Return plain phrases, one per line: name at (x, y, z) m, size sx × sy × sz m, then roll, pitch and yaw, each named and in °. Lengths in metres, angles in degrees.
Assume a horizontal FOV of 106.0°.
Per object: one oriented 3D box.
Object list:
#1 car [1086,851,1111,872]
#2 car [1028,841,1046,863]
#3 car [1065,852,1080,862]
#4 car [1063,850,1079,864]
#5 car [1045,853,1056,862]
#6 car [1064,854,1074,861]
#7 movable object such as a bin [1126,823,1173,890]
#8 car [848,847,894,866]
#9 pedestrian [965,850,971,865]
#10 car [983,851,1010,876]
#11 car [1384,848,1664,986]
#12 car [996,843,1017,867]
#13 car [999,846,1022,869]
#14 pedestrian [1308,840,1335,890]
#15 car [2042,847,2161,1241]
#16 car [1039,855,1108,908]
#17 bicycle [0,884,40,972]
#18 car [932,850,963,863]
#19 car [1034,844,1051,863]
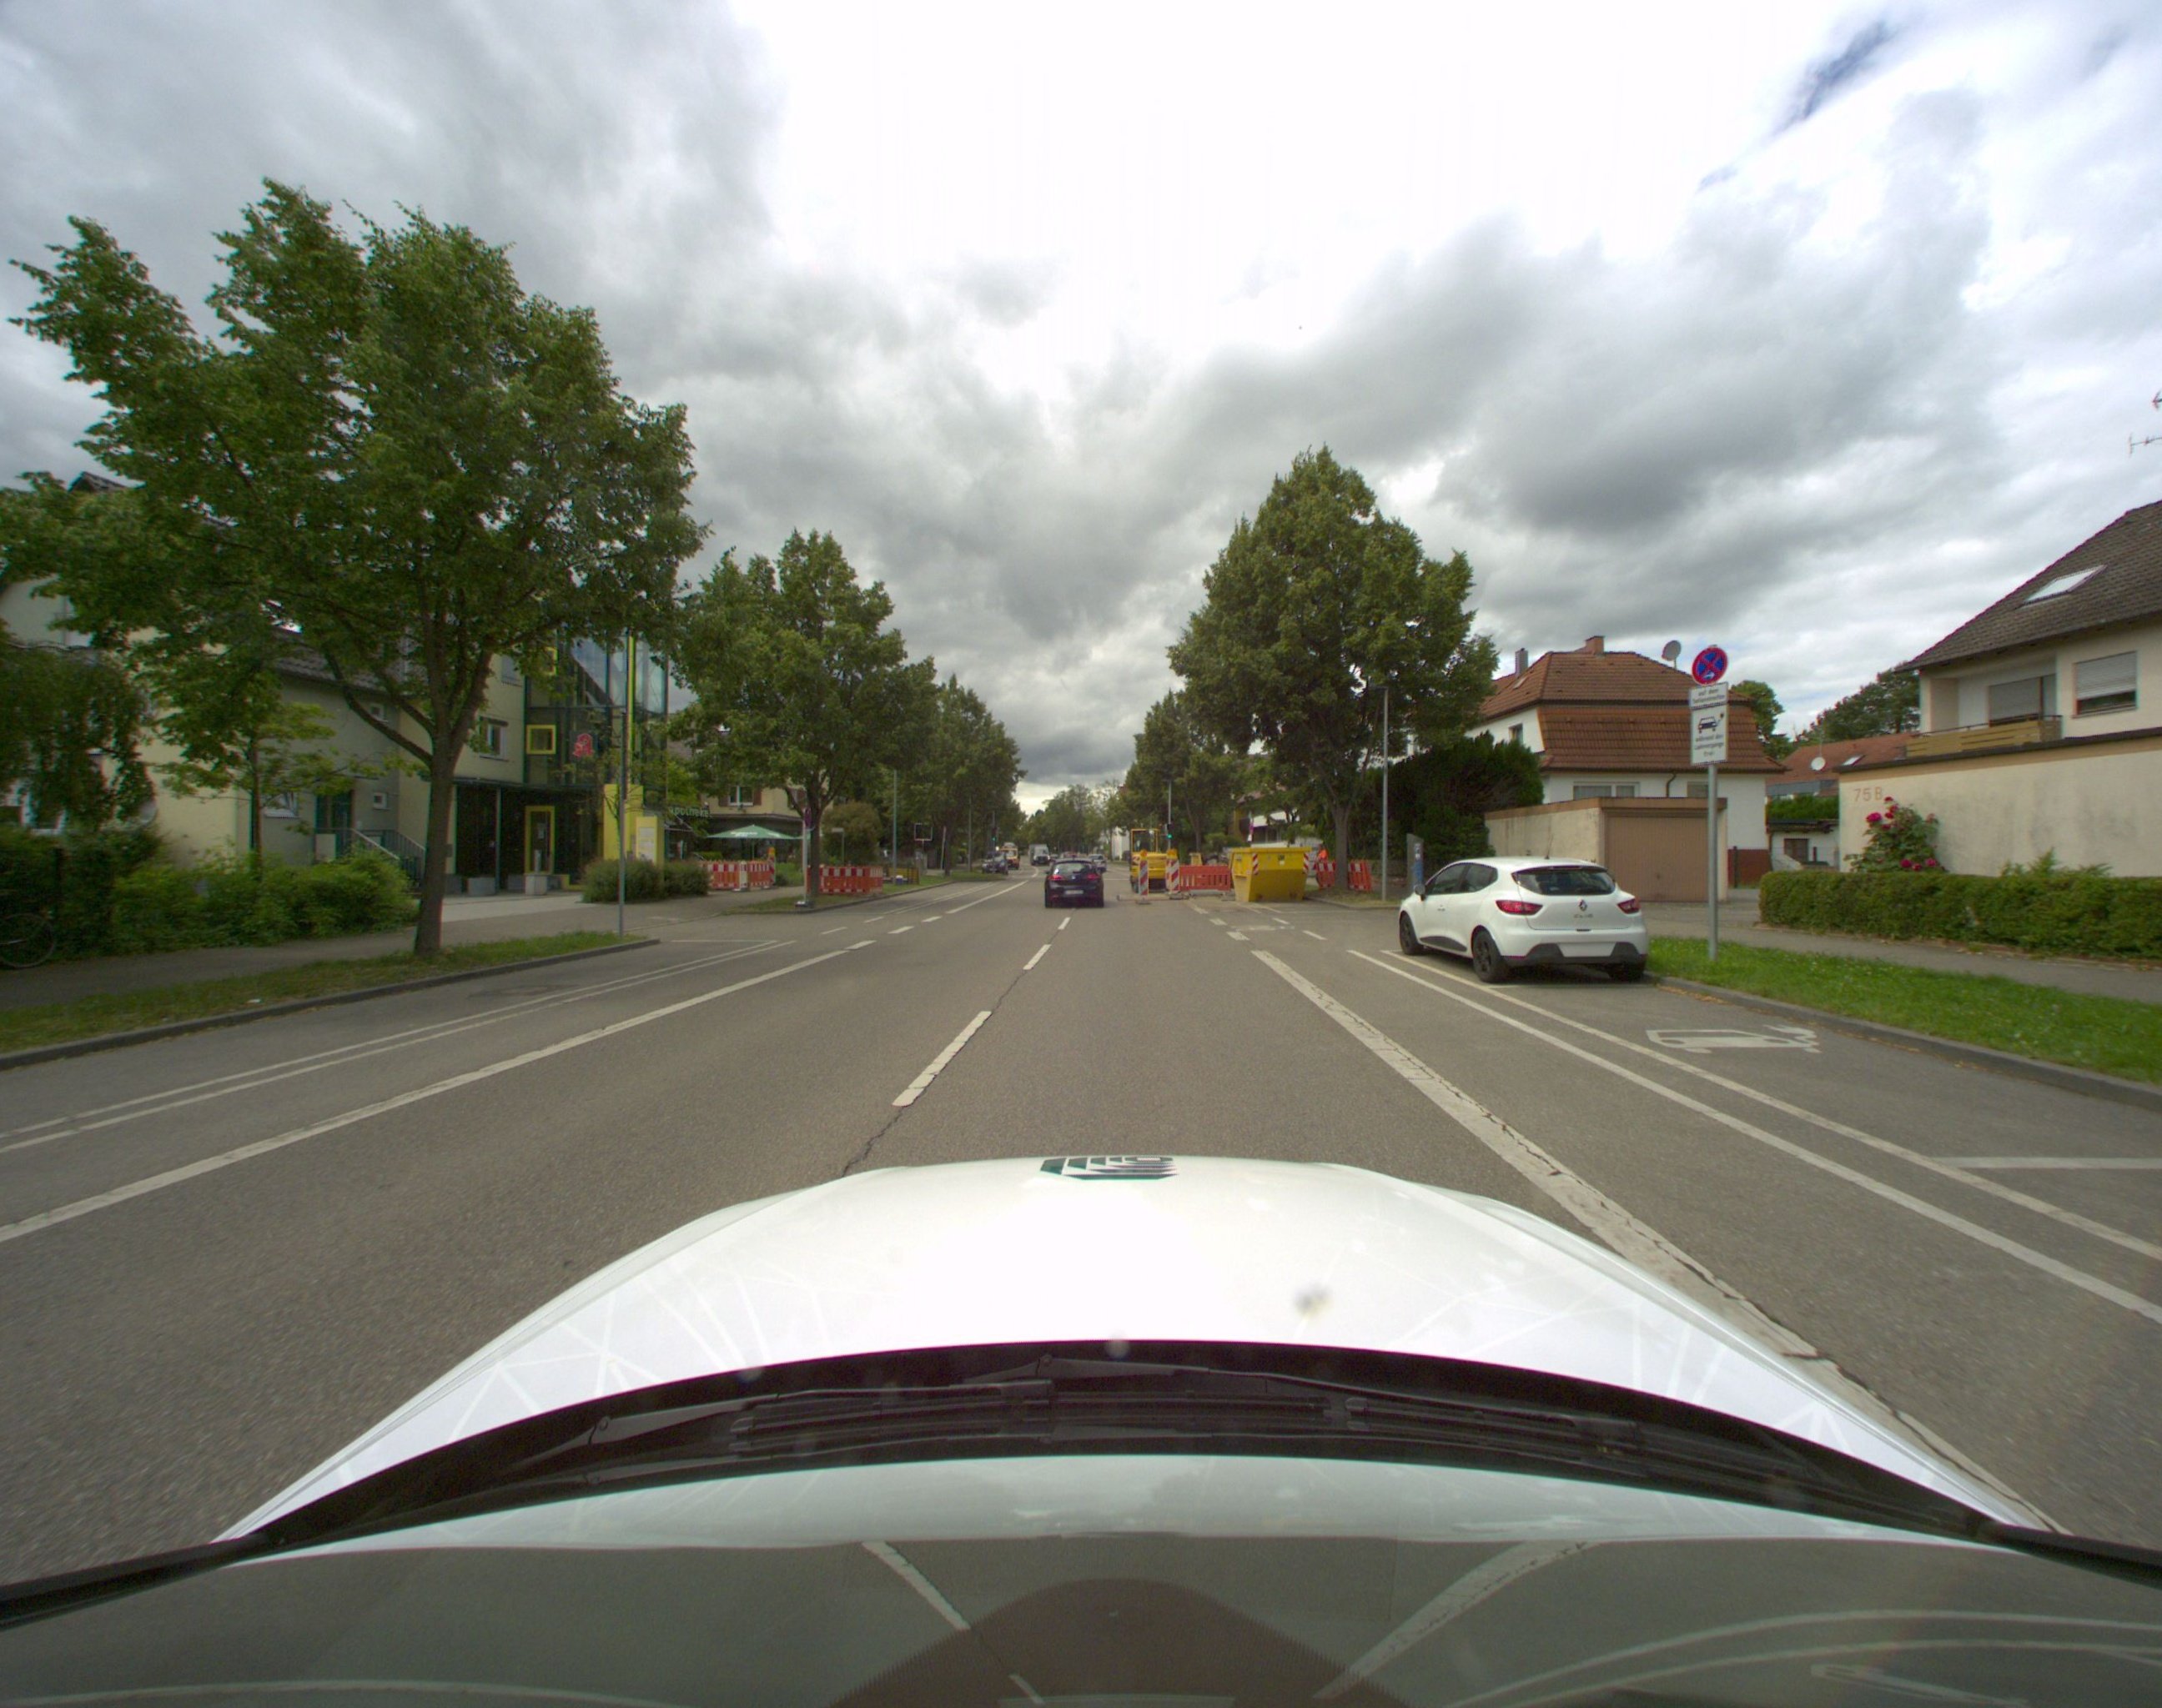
car at (1.449, 0.579, 68.731) m, size 1.900 × 1.685 × 3.739 m, roll -1°, pitch 0°, yaw 0°
car at (-5.918, -0.254, 109.856) m, size 2.282 × 2.792 × 7.138 m, roll -2°, pitch 0°, yaw -2°
car at (-1.269, 0.420, 115.158) m, size 1.807 × 1.415 × 3.685 m, roll -1°, pitch 0°, yaw -6°
car at (-1.228, 0.382, 99.001) m, size 1.786 × 1.623 × 3.737 m, roll -1°, pitch 0°, yaw -2°
car at (-4.913, 0.534, 130.910) m, size 1.805 × 1.375 × 3.690 m, roll -1°, pitch 0°, yaw -2°
car at (-2.354, 0.677, 156.786) m, size 1.804 × 1.415 × 3.692 m, roll -1°, pitch 0°, yaw 0°
movable object such as a bin at (2.737, 0.096, 33.140) m, size 1.761 × 2.574 × 3.743 m, roll 0°, pitch 0°, yaw 3°
car at (-20.213, 0.202, 78.506) m, size 3.968 × 1.769 × 1.748 m, roll -1°, pitch -1°, yaw 5°
pedestrian at (-13.111, 0.426, 94.321) m, size 0.594 × 1.741 × 0.573 m, roll -1°, pitch 0°, yaw -3°
car at (-6.301, 0.659, 61.015) m, size 1.663 × 1.772 × 4.464 m, roll -2°, pitch 0°, yaw -2°
car at (5.493, 0.671, 10.732) m, size 1.665 × 1.462 × 4.003 m, roll -1°, pitch 0°, yaw 3°
car at (-8.543, 0.078, 93.504) m, size 2.087 × 2.626 × 5.039 m, roll -1°, pitch 0°, yaw -3°
car at (-7.129, 0.337, 82.630) m, size 2.087 × 2.175 × 5.039 m, roll -1°, pitch 0°, yaw -3°
pedestrian at (8.043, 0.357, 27.230) m, size 0.701 × 1.634 × 0.644 m, roll -1°, pitch 0°, yaw 2°
car at (4.687, 0.697, 1.039) m, size 1.698 × 1.454 × 4.622 m, roll -1°, pitch 0°, yaw 4°
car at (-0.154, 0.775, 24.911) m, size 1.811 × 1.437 × 3.743 m, roll -1°, pitch 0°, yaw 3°
bicycle at (-13.343, 0.911, 9.472) m, size 0.461 × 1.048 × 1.581 m, roll 0°, pitch 0°, yaw -2°
car at (-17.012, 0.256, 103.928) m, size 3.674 × 1.594 × 1.677 m, roll -1°, pitch 0°, yaw -3°
car at (-4.907, -0.076, 103.704) m, size 2.024 × 2.385 × 5.257 m, roll -2°, pitch 0°, yaw -2°
